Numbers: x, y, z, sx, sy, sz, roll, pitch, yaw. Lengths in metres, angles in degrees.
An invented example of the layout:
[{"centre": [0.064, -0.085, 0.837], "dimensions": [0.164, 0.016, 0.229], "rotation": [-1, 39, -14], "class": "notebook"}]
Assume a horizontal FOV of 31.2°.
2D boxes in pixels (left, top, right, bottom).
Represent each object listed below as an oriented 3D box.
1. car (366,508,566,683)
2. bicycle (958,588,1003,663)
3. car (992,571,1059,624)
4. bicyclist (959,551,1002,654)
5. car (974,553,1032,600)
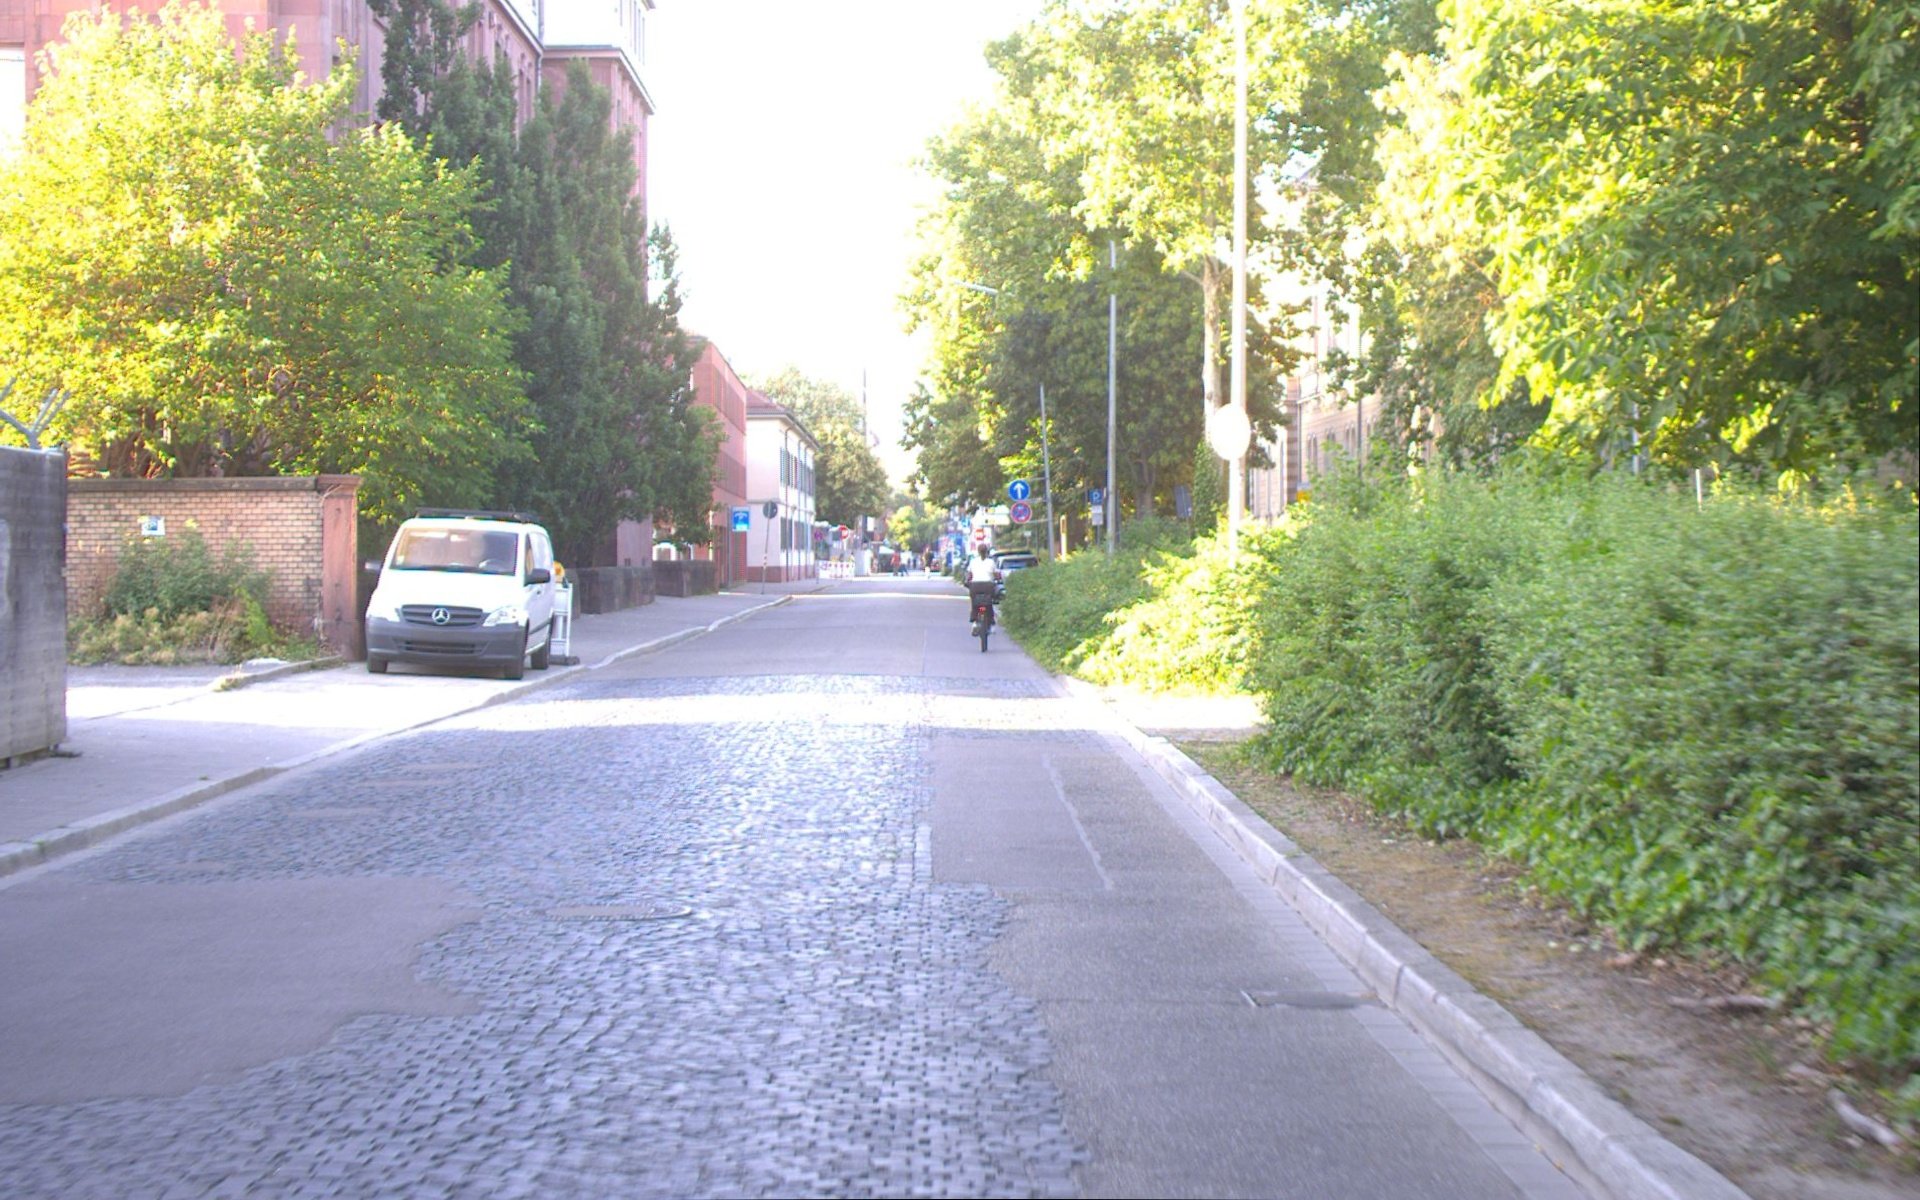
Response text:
[{"centre": [-6.052, -0.046, 42.650], "dimensions": [1.882, 2.007, 5.226], "rotation": [1, 0, -2], "class": "car"}, {"centre": [0.328, 0.406, 56.313], "dimensions": [0.638, 1.189, 1.876], "rotation": [1, 1, -2], "class": "bicycle"}, {"centre": [1.916, -0.066, 101.907], "dimensions": [1.685, 1.442, 3.672], "rotation": [-3, 0, -2], "class": "car"}, {"centre": [0.336, 0.040, 56.307], "dimensions": [0.639, 1.662, 0.843], "rotation": [1, 1, -2], "class": "bicyclist"}, {"centre": [1.425, -0.800, 115.832], "dimensions": [1.715, 1.532, 4.049], "rotation": [-1, 1, -2], "class": "car"}]
